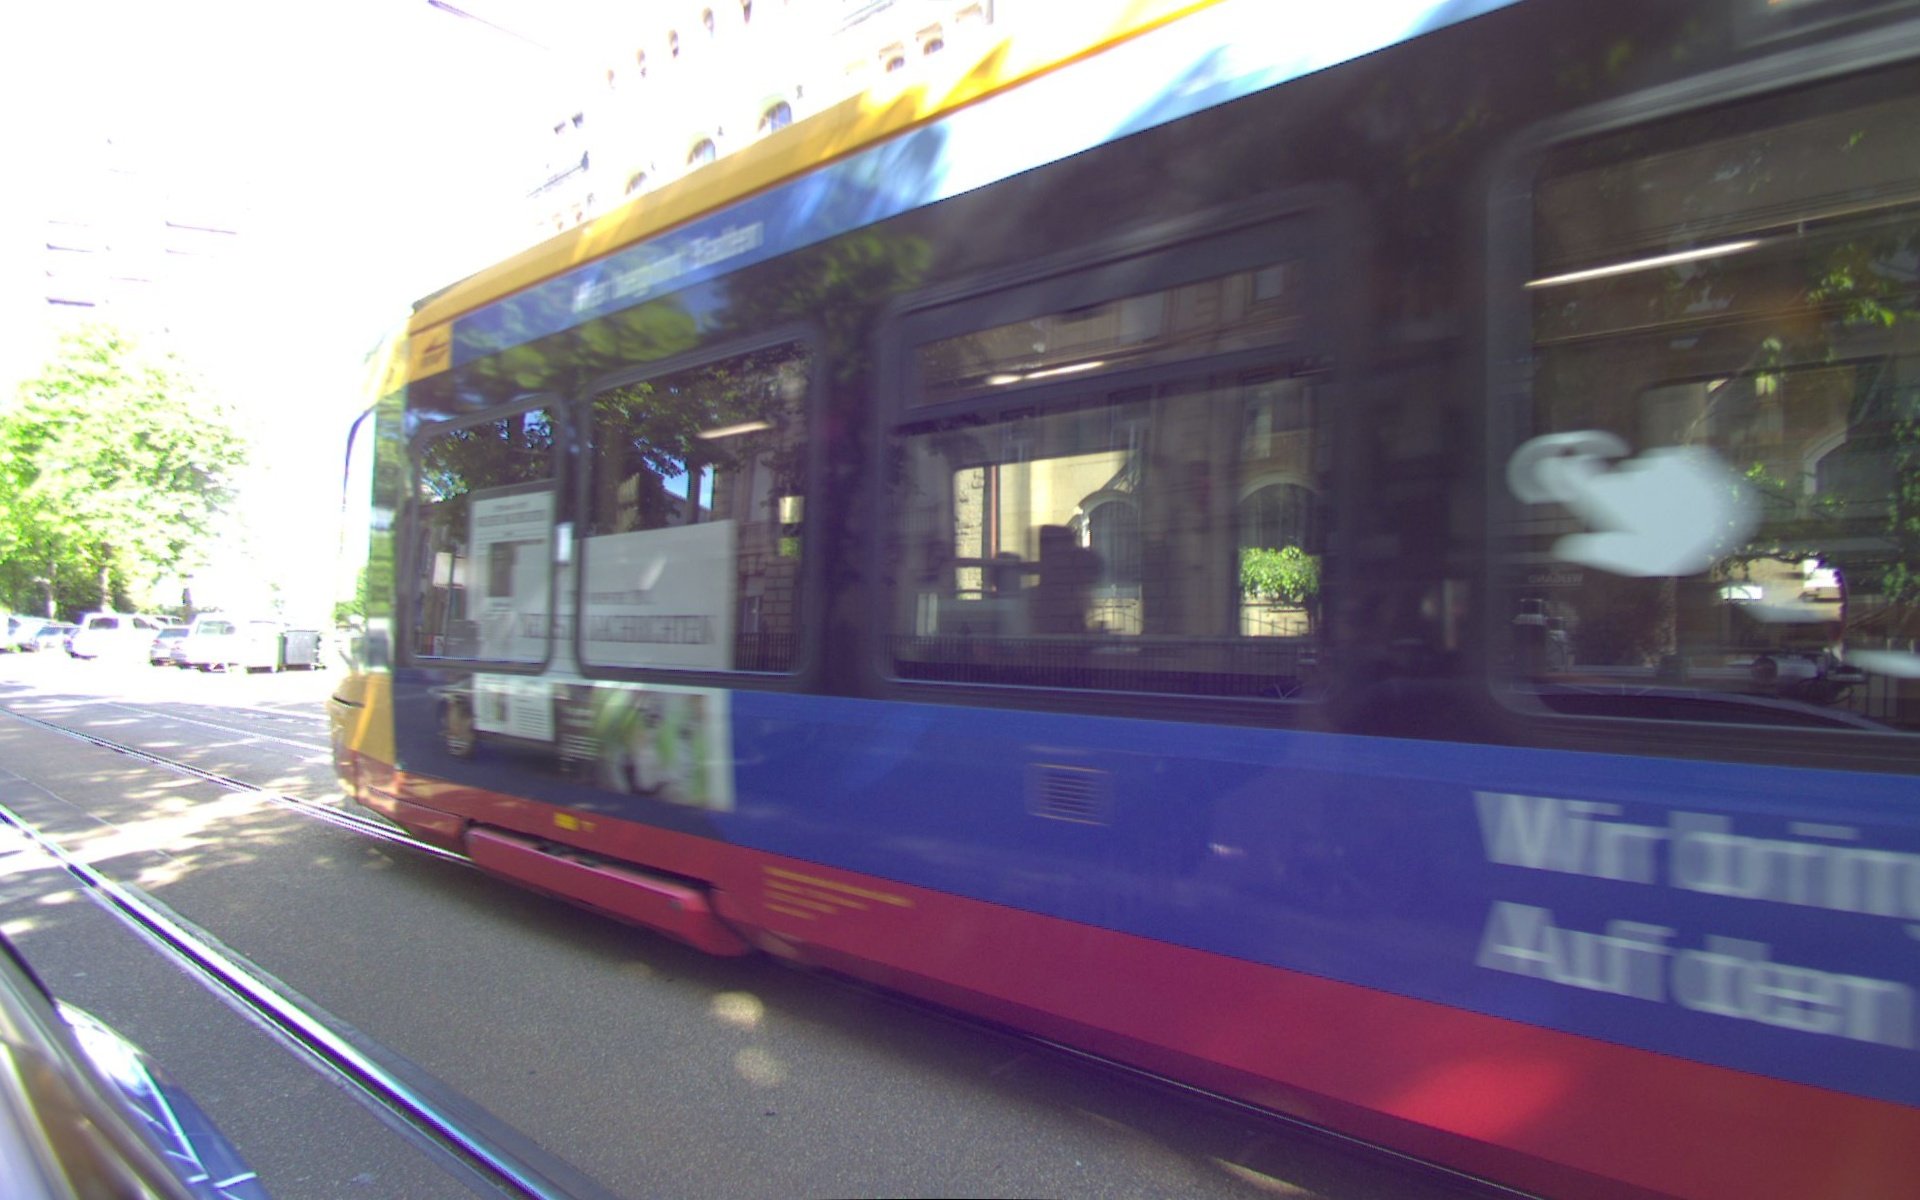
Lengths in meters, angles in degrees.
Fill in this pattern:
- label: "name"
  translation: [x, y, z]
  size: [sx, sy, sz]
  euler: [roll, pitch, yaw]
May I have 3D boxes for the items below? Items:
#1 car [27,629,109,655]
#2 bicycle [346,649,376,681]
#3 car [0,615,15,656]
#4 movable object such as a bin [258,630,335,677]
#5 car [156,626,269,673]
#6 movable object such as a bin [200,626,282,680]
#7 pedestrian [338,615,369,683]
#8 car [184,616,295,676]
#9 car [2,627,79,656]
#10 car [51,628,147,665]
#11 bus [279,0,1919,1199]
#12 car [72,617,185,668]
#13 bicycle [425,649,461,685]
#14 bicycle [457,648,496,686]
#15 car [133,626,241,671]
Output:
- label: "car"
  translation: [-43.018, 2.002, 48.842]
  size: [1.220, 1.097, 2.734]
  euler: [-1, 0, 24]
- label: "bicycle"
  translation: [-15.734, 1.694, 26.565]
  size: [1.263, 0.767, 0.293]
  euler: [-1, 0, 41]
- label: "car"
  translation: [-47.228, 1.716, 48.913]
  size: [1.968, 1.918, 4.008]
  euler: [-1, 0, -39]
- label: "movable object such as a bin"
  translation: [-20.551, 1.630, 31.333]
  size: [2.095, 1.326, 1.482]
  euler: [-1, 0, 41]
- label: "car"
  translation: [-25.223, 1.645, 34.235]
  size: [1.451, 1.446, 2.734]
  euler: [-1, 0, 24]
- label: "movable object such as a bin"
  translation: [-20.904, 1.504, 29.410]
  size: [2.095, 1.443, 1.493]
  euler: [-1, 0, 41]
- label: "pedestrian"
  translation: [-15.012, 1.199, 25.044]
  size: [0.659, 1.641, 0.469]
  euler: [-1, 0, 41]
- label: "car"
  translation: [-22.920, 1.481, 32.306]
  size: [1.438, 1.787, 3.189]
  euler: [-1, -3, -5]
- label: "car"
  translation: [-48.514, 2.178, 53.437]
  size: [1.220, 1.436, 2.734]
  euler: [-1, 0, 24]
- label: "car"
  translation: [-36.260, 1.935, 42.663]
  size: [1.451, 1.446, 2.734]
  euler: [-1, 0, 24]
- label: "bus"
  translation: [1.240, -0.551, 3.595]
  size: [11.485, 3.805, 2.832]
  euler: [-1, 0, 39]
- label: "car"
  translation: [-33.389, 1.657, 40.767]
  size: [1.894, 1.885, 3.447]
  euler: [-1, 0, -4]
- label: "bicycle"
  translation: [-12.044, 1.548, 23.577]
  size: [1.263, 0.767, 0.293]
  euler: [-1, 0, 41]
- label: "bicycle"
  translation: [-10.700, 1.473, 22.395]
  size: [1.263, 0.767, 0.314]
  euler: [-1, 0, 41]
- label: "car"
  translation: [-27.779, 1.715, 36.423]
  size: [1.451, 1.446, 2.734]
  euler: [-1, 0, 24]
